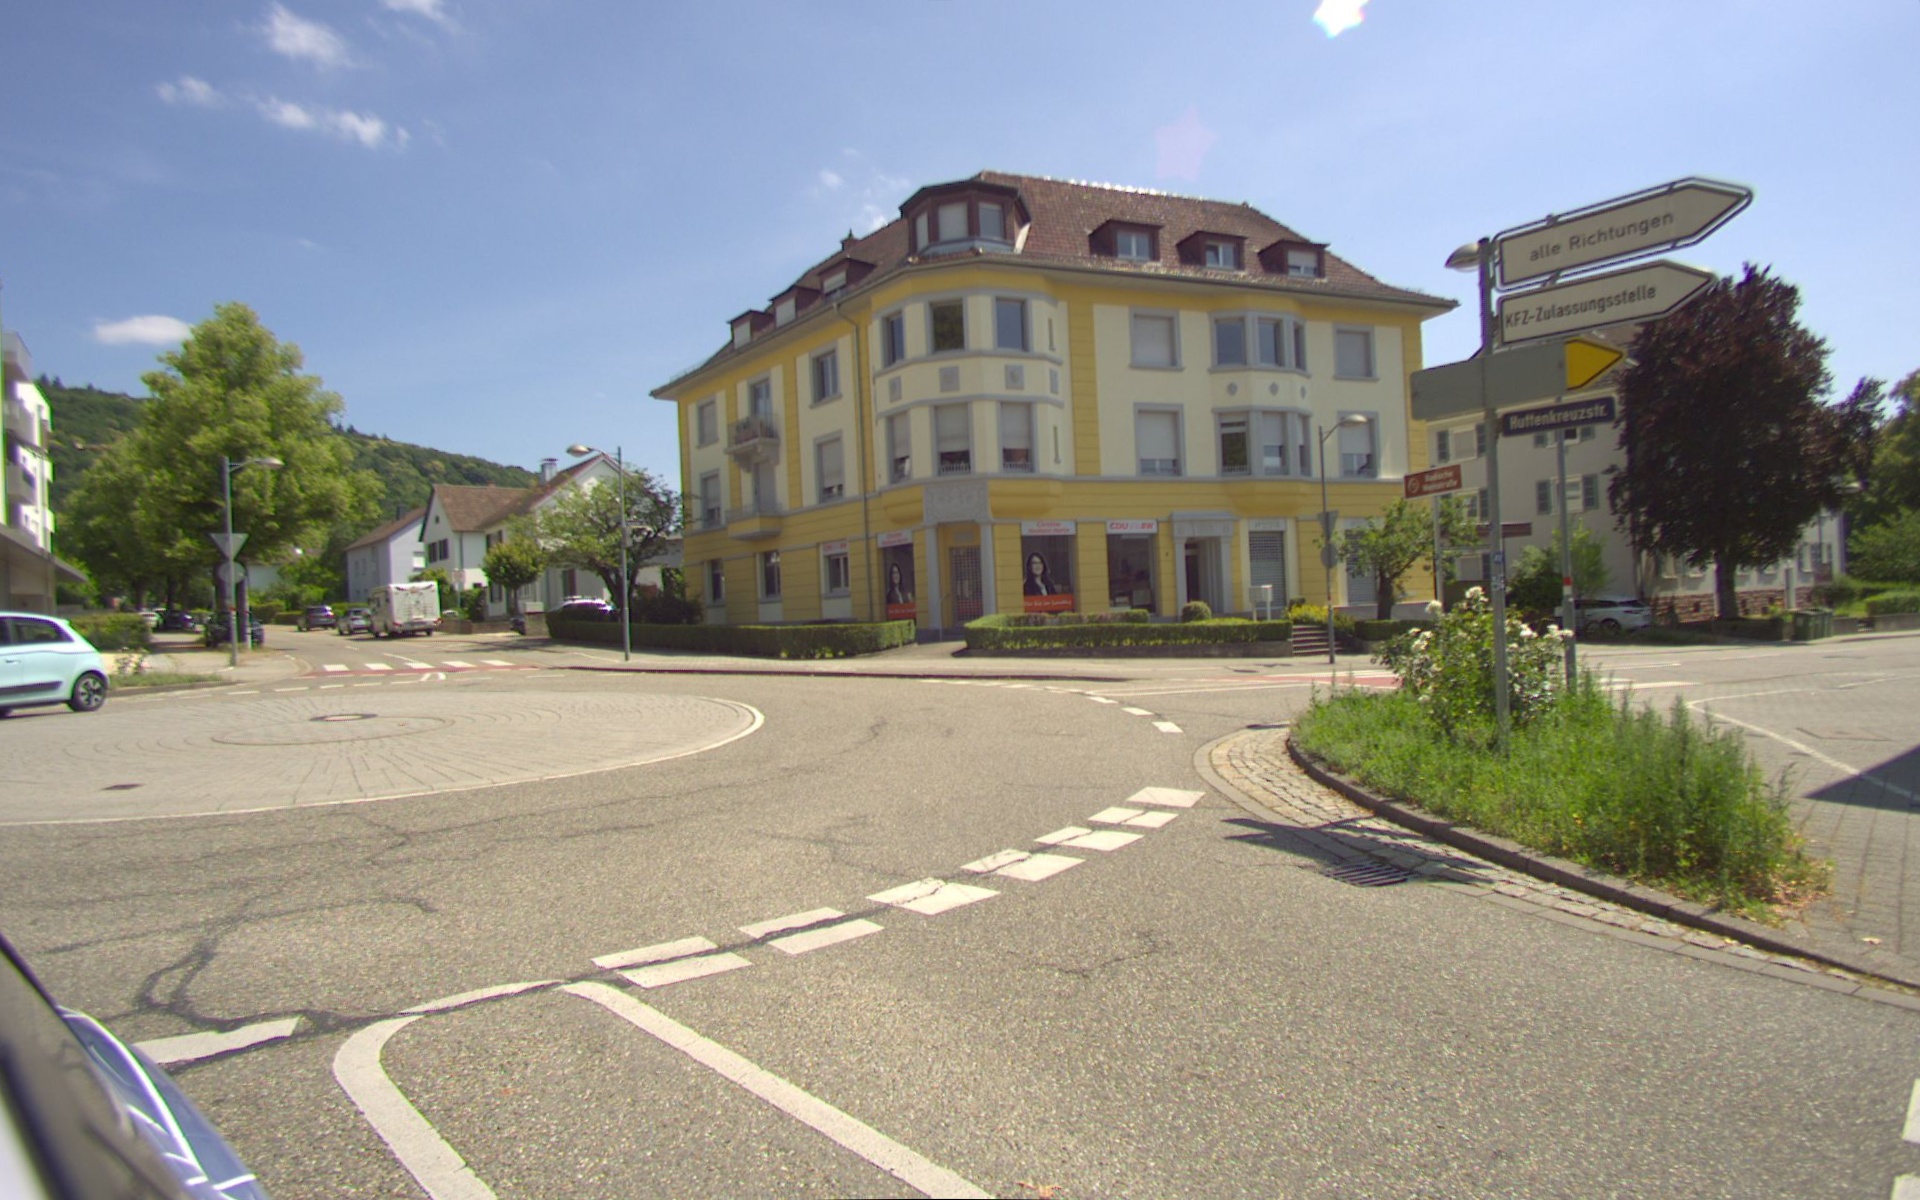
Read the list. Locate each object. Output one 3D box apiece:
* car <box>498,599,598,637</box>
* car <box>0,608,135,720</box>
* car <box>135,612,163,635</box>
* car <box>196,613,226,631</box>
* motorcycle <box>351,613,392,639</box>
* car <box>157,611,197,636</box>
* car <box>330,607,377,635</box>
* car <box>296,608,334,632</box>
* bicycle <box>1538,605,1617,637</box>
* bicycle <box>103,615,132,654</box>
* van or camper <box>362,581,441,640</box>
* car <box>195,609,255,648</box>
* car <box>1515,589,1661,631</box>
[{"bbox_3d":[-18.961,0.805,46.676,1.753,1.598,3.943,-2,0,36],"label":"car"},{"bbox_3d":[-13.969,0.909,14.008,1.637,1.536,4.161,-3,0,1],"label":"car"},{"bbox_3d":[-67.504,1.926,84.220,1.739,1.763,4.007,-1,0,-39],"label":"car"},{"bbox_3d":[-73.462,2.136,99.261,1.969,1.679,4.005,-1,1,-42],"label":"car"},{"bbox_3d":[-31.956,1.393,55.002,0.731,1.329,2.229,-1,0,6],"label":"motorcycle"},{"bbox_3d":[-55.277,1.625,71.454,1.969,1.679,4.005,-1,1,-42],"label":"car"},{"bbox_3d":[-34.841,1.185,58.086,1.728,1.516,4.000,-1,0,-39],"label":"car"},{"bbox_3d":[-44.445,1.381,69.673,1.728,1.516,4.000,-1,0,-39],"label":"car"},{"bbox_3d":[22.766,0.767,37.363,0.658,1.147,2.392,-1,-1,-39],"label":"bicycle"},{"bbox_3d":[-31.300,1.269,37.628,0.560,1.388,1.753,-1,0,-31],"label":"bicycle"},{"bbox_3d":[-28.150,0.526,50.895,2.239,2.658,5.895,-5,2,-40],"label":"van or camper"},{"bbox_3d":[-31.133,1.196,42.831,1.729,1.516,3.998,-1,0,-41],"label":"car"},{"bbox_3d":[24.339,0.391,39.320,1.969,1.520,4.424,-1,-1,-42],"label":"car"}]
